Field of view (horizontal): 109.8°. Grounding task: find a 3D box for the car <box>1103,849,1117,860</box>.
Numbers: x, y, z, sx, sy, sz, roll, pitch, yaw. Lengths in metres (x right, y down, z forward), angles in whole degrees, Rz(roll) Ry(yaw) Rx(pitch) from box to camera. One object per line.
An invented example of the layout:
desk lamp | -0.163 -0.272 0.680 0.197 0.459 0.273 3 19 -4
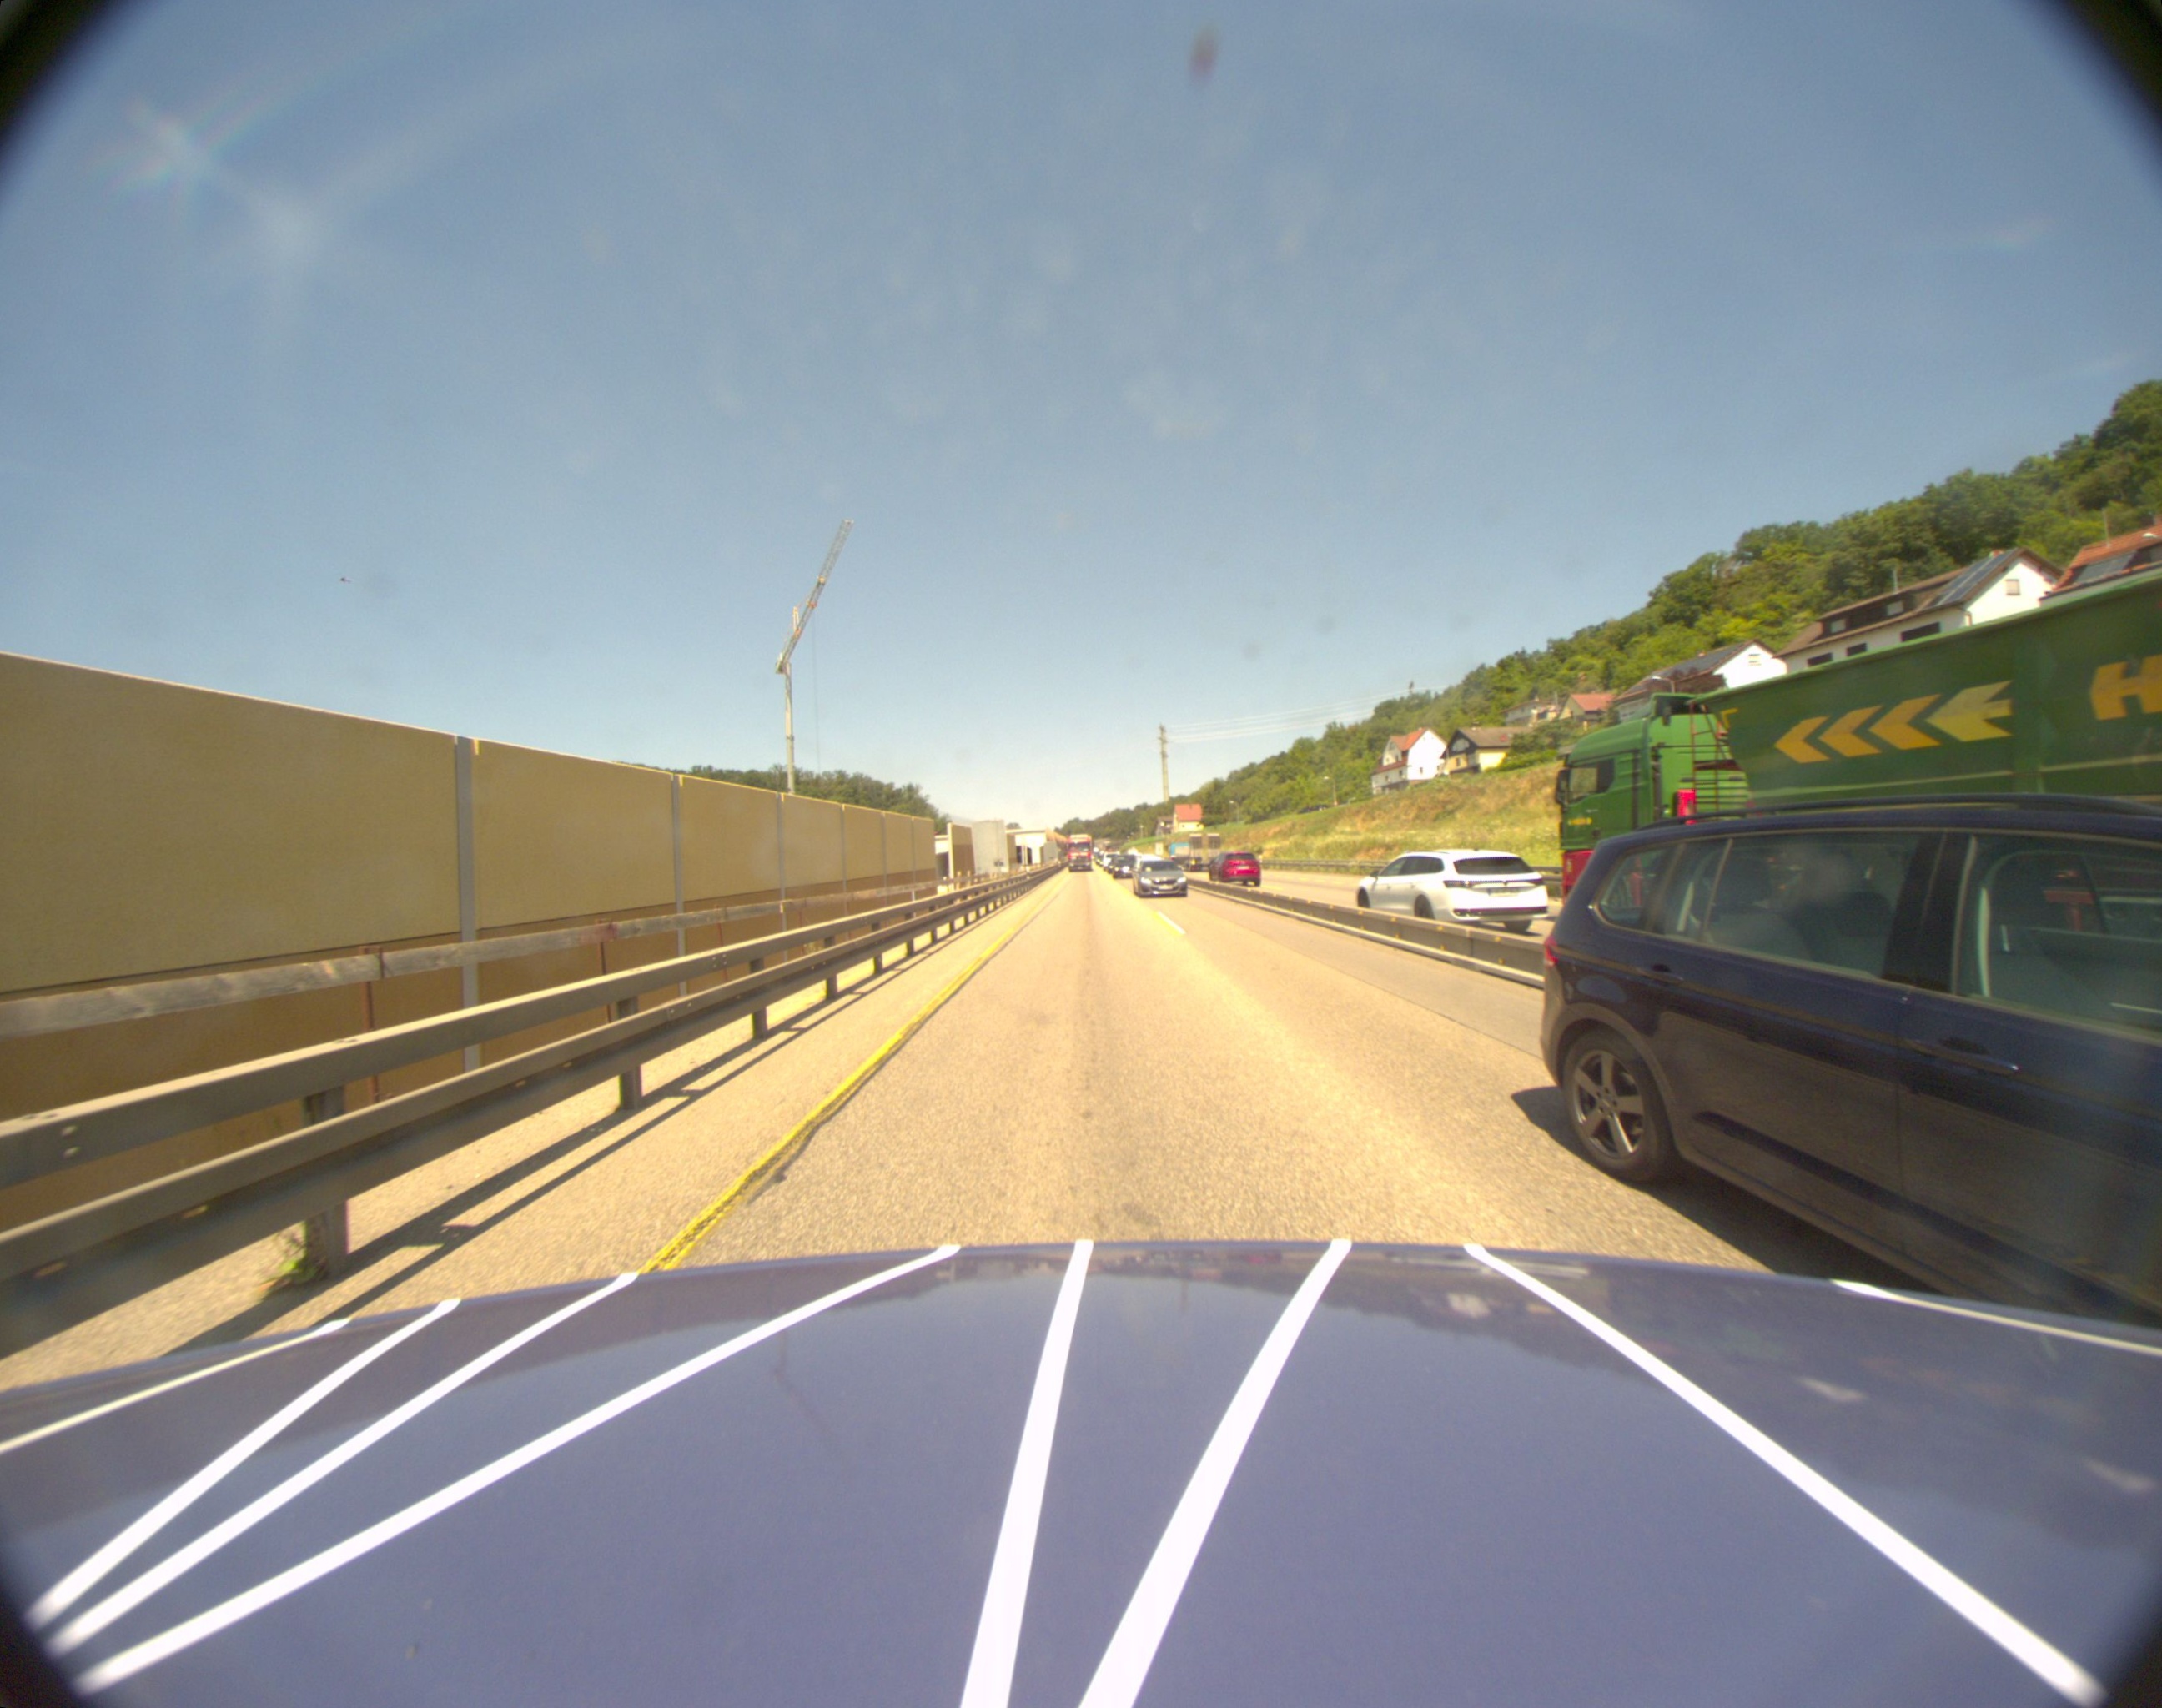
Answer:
car | 4.116 0.133 108.136 1.780 1.486 4.336 -2 0 1

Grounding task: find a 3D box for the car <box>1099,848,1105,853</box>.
car | 7.285 -1.324 261.295 1.679 1.686 4.044 -2 0 0

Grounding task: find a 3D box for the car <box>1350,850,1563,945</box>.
car | 6.793 0.698 14.369 1.777 1.461 4.439 -2 0 0

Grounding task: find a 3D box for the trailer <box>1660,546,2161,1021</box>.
trailer | 10.375 -0.615 6.414 2.920 3.915 10.526 -2 0 0

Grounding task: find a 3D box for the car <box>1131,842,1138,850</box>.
car | 14.679 -2.237 208.860 1.679 2.203 4.044 -2 0 0

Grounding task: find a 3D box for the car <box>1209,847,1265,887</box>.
car | 7.266 0.564 35.823 1.816 1.706 4.045 -2 0 1

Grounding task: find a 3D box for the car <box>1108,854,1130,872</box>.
car | 3.379 0.751 67.544 1.780 1.486 4.336 -2 0 1

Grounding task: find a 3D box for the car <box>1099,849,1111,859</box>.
car | 3.936 -0.039 124.143 1.780 1.486 4.336 -2 0 1

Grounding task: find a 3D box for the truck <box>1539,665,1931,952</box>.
truck | 10.400 -0.640 12.704 2.902 3.915 4.178 -2 0 0

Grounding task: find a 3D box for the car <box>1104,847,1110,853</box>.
car | 8.389 -1.286 243.829 1.679 1.686 4.044 -2 0 0

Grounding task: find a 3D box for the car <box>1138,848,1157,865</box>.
car | 7.157 0.280 82.250 1.679 1.706 4.044 -2 0 0

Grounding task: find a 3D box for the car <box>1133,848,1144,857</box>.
car | 10.554 -0.298 140.614 1.679 1.615 4.044 -2 0 0

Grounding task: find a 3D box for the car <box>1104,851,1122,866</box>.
car | 3.353 0.477 79.853 1.780 1.486 4.336 -2 0 1

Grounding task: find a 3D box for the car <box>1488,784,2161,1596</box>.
car | 3.138 0.679 1.856 1.780 1.708 4.652 -2 0 0

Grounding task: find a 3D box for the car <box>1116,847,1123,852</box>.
car | 11.658 -1.350 230.913 1.679 1.686 4.044 -2 0 0

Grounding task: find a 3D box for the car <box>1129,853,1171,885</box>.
car | 3.450 0.732 38.801 1.780 1.447 4.336 -2 0 1

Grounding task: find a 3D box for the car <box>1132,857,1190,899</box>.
car | 3.025 0.869 29.491 1.780 1.447 4.336 -2 0 1

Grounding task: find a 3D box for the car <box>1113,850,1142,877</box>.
car | 3.197 0.660 53.160 1.780 1.727 4.336 -2 0 1

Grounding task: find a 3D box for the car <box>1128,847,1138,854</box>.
car | 11.245 -0.748 164.198 1.679 1.615 4.044 -2 0 0

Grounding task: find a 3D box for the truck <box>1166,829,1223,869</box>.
truck | 10.402 -0.436 71.770 2.770 3.303 15.934 -2 0 0

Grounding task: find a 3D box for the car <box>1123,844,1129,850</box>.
car | 14.047 -2.148 238.467 1.679 1.686 4.044 -2 0 0

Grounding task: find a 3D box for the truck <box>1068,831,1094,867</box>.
truck | 0.068 -0.511 85.135 2.605 3.704 10.536 -2 0 1
